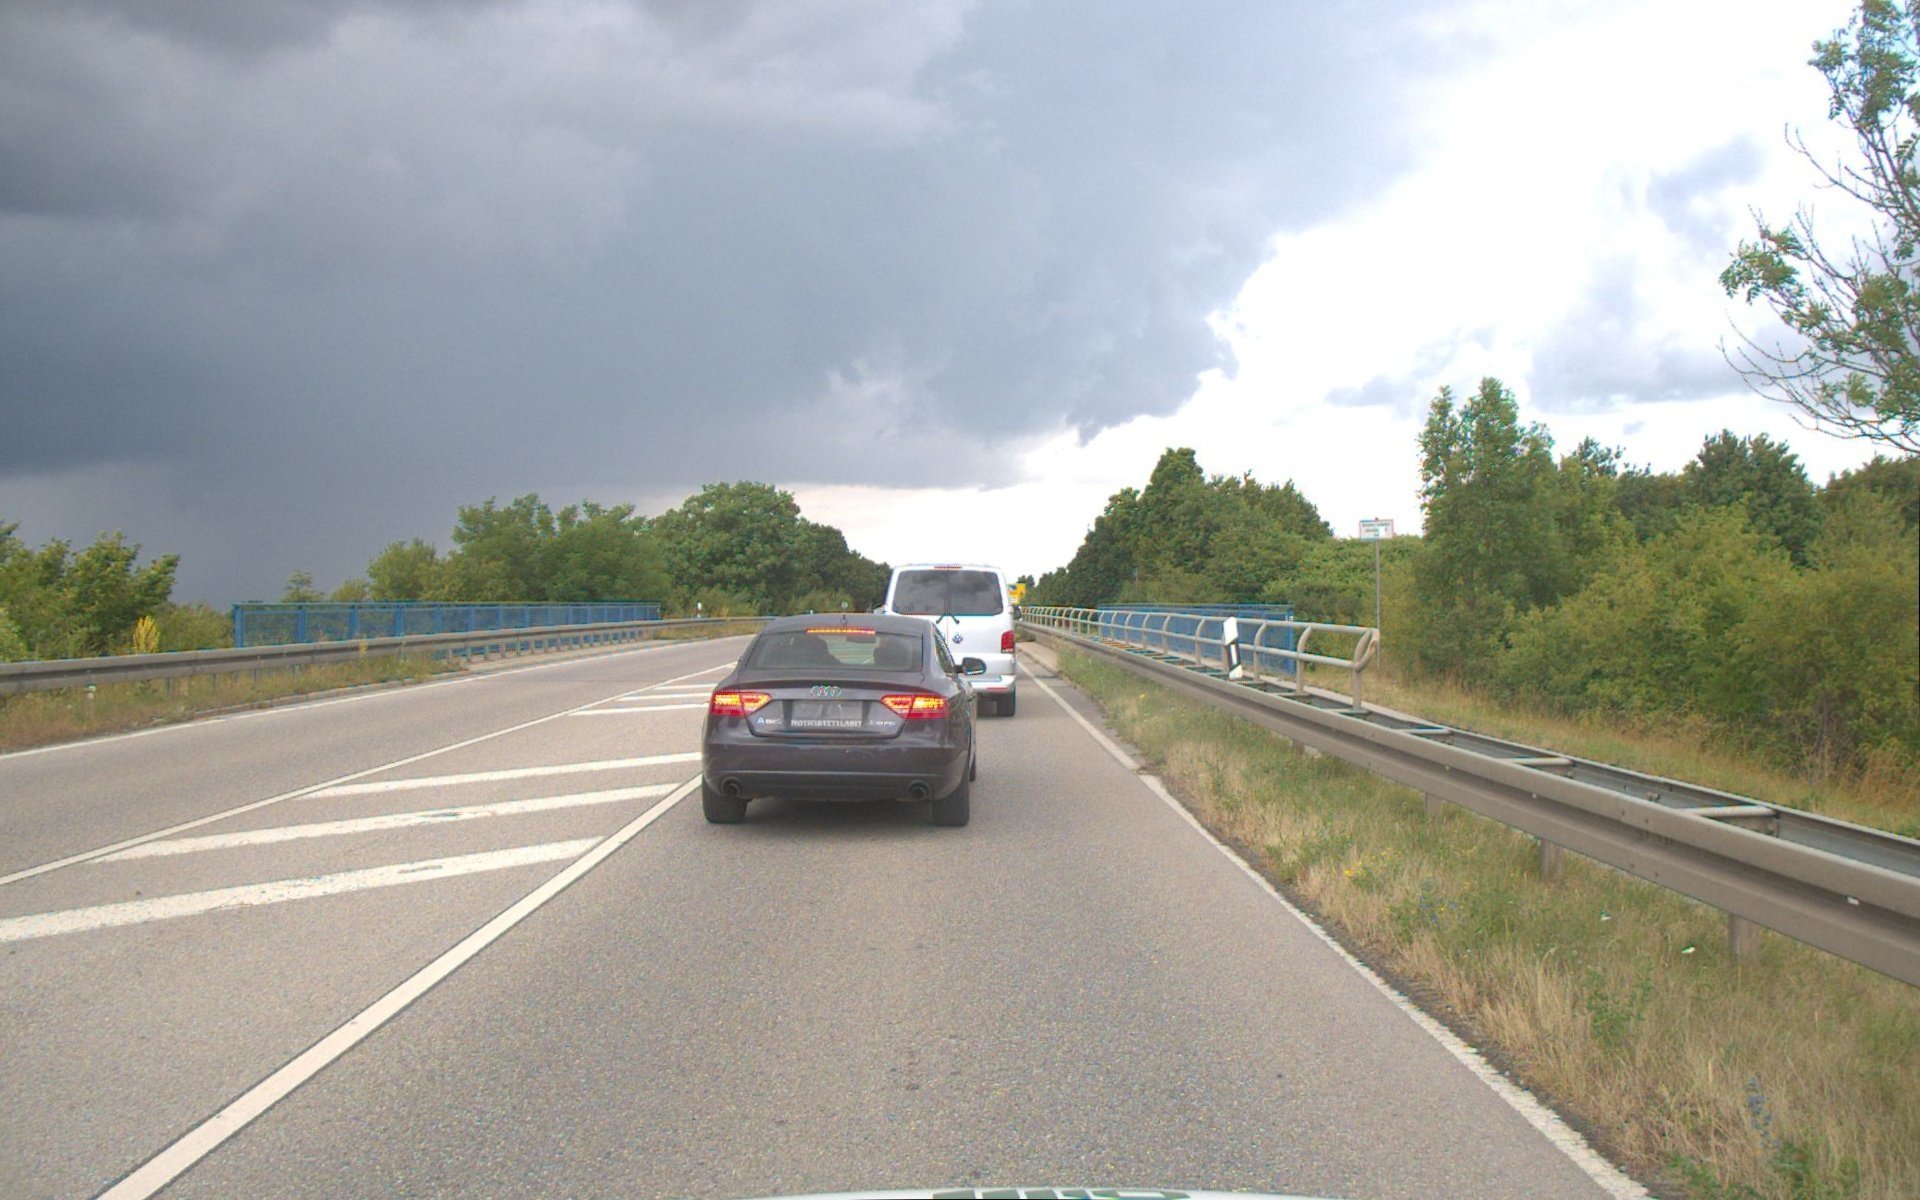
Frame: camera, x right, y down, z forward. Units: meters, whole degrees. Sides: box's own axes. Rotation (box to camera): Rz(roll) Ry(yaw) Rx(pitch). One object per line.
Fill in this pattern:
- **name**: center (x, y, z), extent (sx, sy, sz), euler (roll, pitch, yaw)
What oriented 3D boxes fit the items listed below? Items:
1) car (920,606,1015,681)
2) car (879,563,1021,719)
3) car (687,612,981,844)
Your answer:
- **car**: center (0.174, 0.824, 33.178), extent (1.784, 1.405, 4.072), euler (0, 0, 1)
- **car**: center (-0.143, 0.526, 22.906), extent (1.791, 1.969, 3.999), euler (0, 0, 0)
- **car**: center (-0.747, 0.799, 12.171), extent (1.784, 1.405, 4.072), euler (0, 0, 1)
